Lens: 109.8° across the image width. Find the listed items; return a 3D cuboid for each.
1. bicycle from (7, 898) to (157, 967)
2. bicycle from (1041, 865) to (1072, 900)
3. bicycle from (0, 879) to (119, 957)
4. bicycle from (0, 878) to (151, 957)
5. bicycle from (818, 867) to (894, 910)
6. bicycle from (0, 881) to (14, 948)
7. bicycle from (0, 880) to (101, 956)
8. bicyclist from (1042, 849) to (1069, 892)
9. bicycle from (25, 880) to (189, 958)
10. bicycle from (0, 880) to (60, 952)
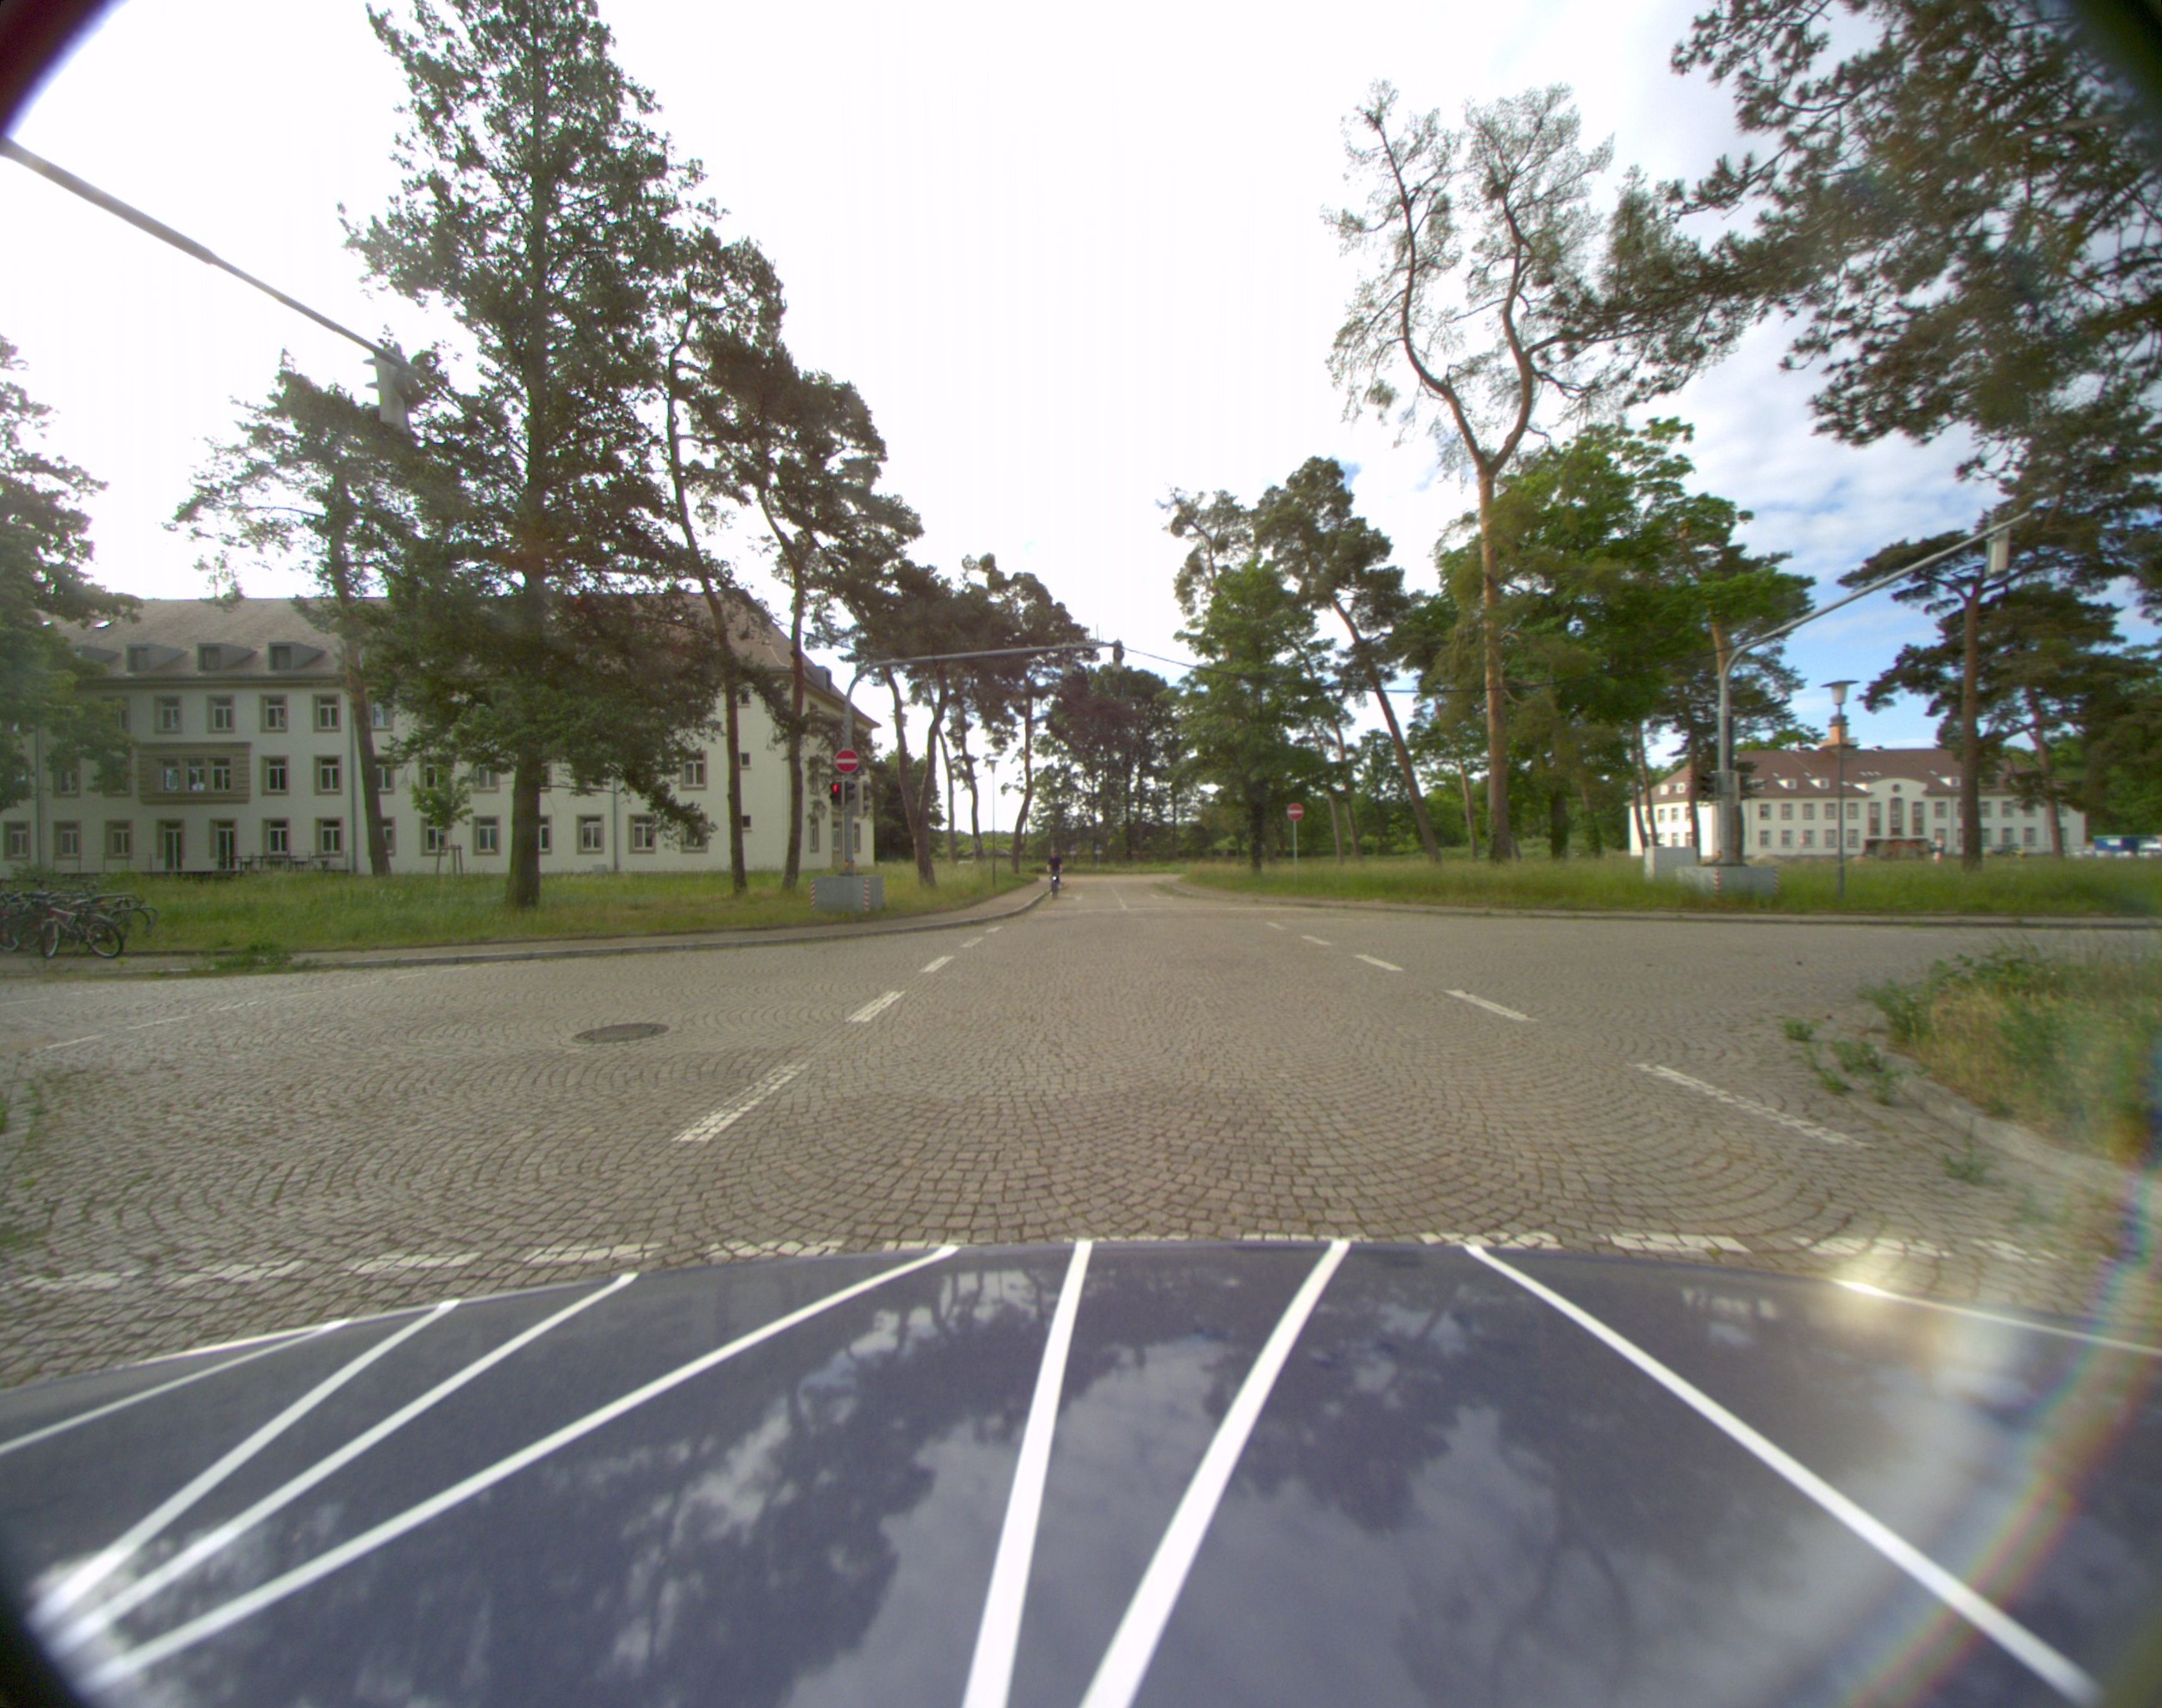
[{"bbox_3d":[-16.740,1.310,12.751,1.836,1.079,0.573,-1,2,4],"label":"bicycle"},{"bbox_3d":[-0.932,1.092,29.556,0.963,1.268,2.164,-1,0,3],"label":"bicycle"},{"bbox_3d":[-19.543,1.174,14.348,0.482,1.324,1.837,-1,0,-4],"label":"bicycle"},{"bbox_3d":[-19.046,1.155,14.330,0.572,1.324,1.839,-1,0,9],"label":"bicycle"},{"bbox_3d":[-6.019,0.926,20.417,1.836,1.079,0.572,-1,2,-1],"label":"bicycle"},{"bbox_3d":[-21.597,1.198,14.271,0.572,1.324,1.837,-1,0,-4],"label":"bicycle"},{"bbox_3d":[-19.975,1.191,14.364,0.572,1.324,1.837,-1,0,-4],"label":"bicycle"},{"bbox_3d":[-0.977,0.643,29.520,0.963,1.626,0.918,-1,1,3],"label":"bicyclist"},{"bbox_3d":[-18.416,1.194,14.438,0.572,1.324,1.839,-1,0,9],"label":"bicycle"},{"bbox_3d":[-20.741,1.197,14.310,0.572,1.324,1.837,-1,0,-4],"label":"bicycle"}]
